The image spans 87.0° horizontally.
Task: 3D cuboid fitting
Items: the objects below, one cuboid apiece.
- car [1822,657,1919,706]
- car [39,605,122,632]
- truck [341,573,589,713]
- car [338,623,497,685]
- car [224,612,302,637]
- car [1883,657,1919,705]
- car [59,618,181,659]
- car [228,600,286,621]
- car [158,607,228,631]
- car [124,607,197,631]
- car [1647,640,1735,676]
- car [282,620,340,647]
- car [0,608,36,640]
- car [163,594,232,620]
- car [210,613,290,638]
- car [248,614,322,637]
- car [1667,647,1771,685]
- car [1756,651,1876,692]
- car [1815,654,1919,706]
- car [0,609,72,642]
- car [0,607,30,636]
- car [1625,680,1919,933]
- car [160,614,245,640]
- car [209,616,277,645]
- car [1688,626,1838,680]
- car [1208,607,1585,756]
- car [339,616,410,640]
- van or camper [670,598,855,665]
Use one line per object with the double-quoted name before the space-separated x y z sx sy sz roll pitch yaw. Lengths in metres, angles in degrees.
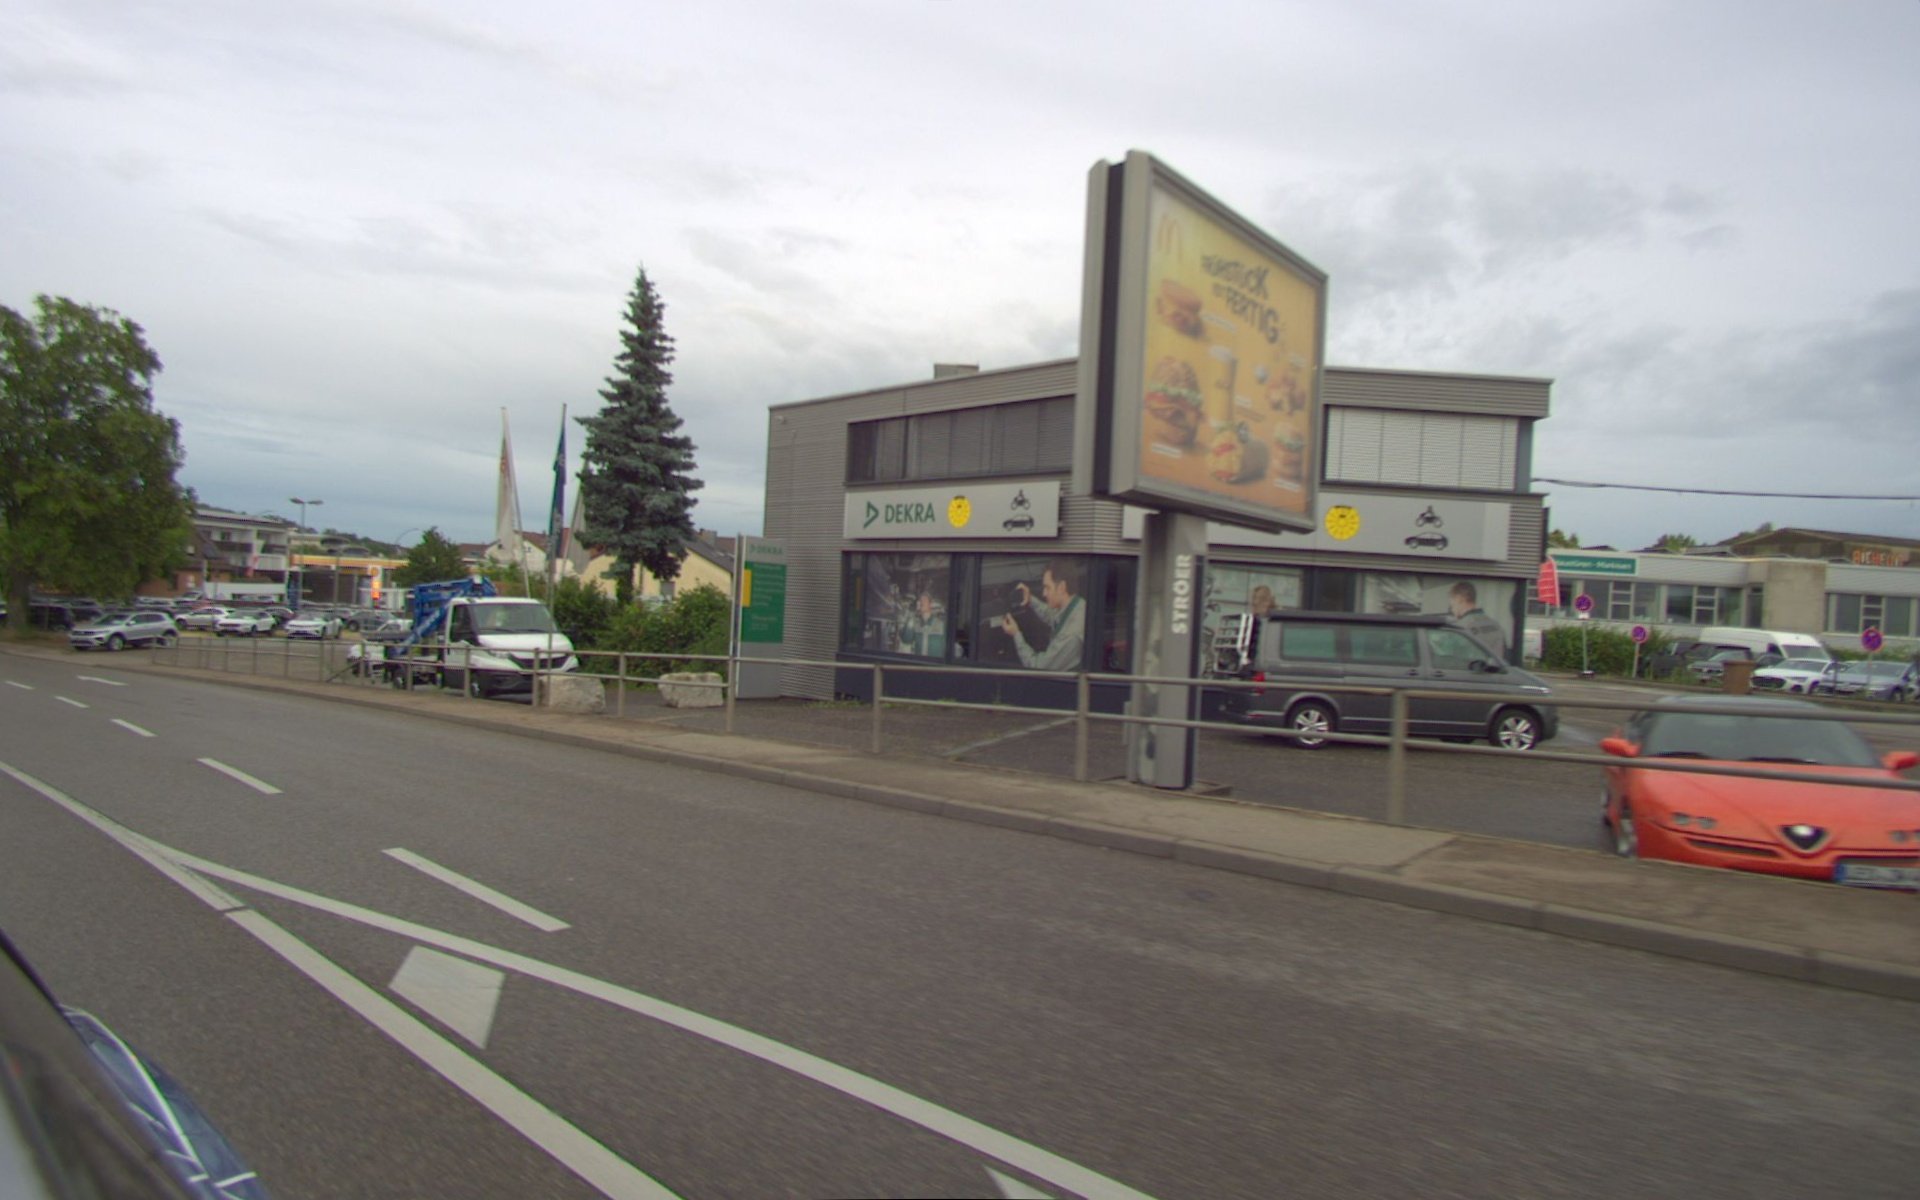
"car" 26.655 2.314 28.917 3.441 1.299 1.595 2 -2 -21
"car" -56.154 1.181 64.661 3.717 1.562 1.595 2 -1 -6
"truck" -11.221 0.878 22.490 7.889 2.653 1.972 -1 -3 41
"car" -17.971 1.764 33.652 4.233 1.885 2.058 1 -2 9
"car" -46.732 1.640 67.883 3.991 1.463 1.789 2 -1 3
"car" 42.140 3.552 43.202 1.883 2.029 3.997 3 -2 2
"car" -35.790 1.587 43.247 1.699 1.582 4.002 1 0 5
"car" -68.845 1.029 99.192 2.027 1.878 4.916 2 -2 4
"car" -56.056 1.378 73.989 3.717 1.562 1.595 2 -1 -6
"car" -56.052 1.345 71.009 3.717 1.562 1.595 2 -1 -6
"car" 31.745 2.500 44.047 1.512 1.502 3.063 1 -2 -1
"car" -37.695 1.924 58.890 1.798 1.426 4.022 2 -2 -17
"car" -50.009 1.186 51.867 1.671 1.579 3.718 0 -2 41
"car" -69.318 0.700 92.126 2.027 2.102 5.249 2 -2 4
"car" -46.016 1.627 65.657 3.991 1.463 1.789 2 -1 3
"car" -46.925 1.787 70.440 3.991 1.463 1.789 2 -1 3
"car" 25.464 2.204 33.973 3.010 1.197 1.386 2 -2 -21
"car" 26.629 2.222 31.506 3.205 1.188 1.456 2 -2 -21
"car" 39.342 3.421 43.506 1.793 2.029 3.997 3 -2 2
"car" -47.244 1.260 50.727 1.670 1.579 3.847 0 -2 37
"car" -53.087 1.120 54.622 4.094 1.521 1.675 3 -1 -39
"car" 6.184 1.329 7.641 1.764 1.277 4.061 0 -3 31
"car" -46.951 1.660 62.759 3.991 1.463 1.789 2 -1 3
"car" -41.024 1.712 57.988 1.760 1.521 4.055 2 -1 -14
"car" 34.752 2.217 44.067 1.973 2.029 5.875 1 0 2
"car" 6.423 1.169 15.333 4.810 2.002 1.999 1 -1 1
"car" -40.806 1.943 70.525 3.996 1.566 1.786 2 -1 8
"van or camper" -8.925 1.409 46.293 8.004 2.916 2.477 0 2 0
